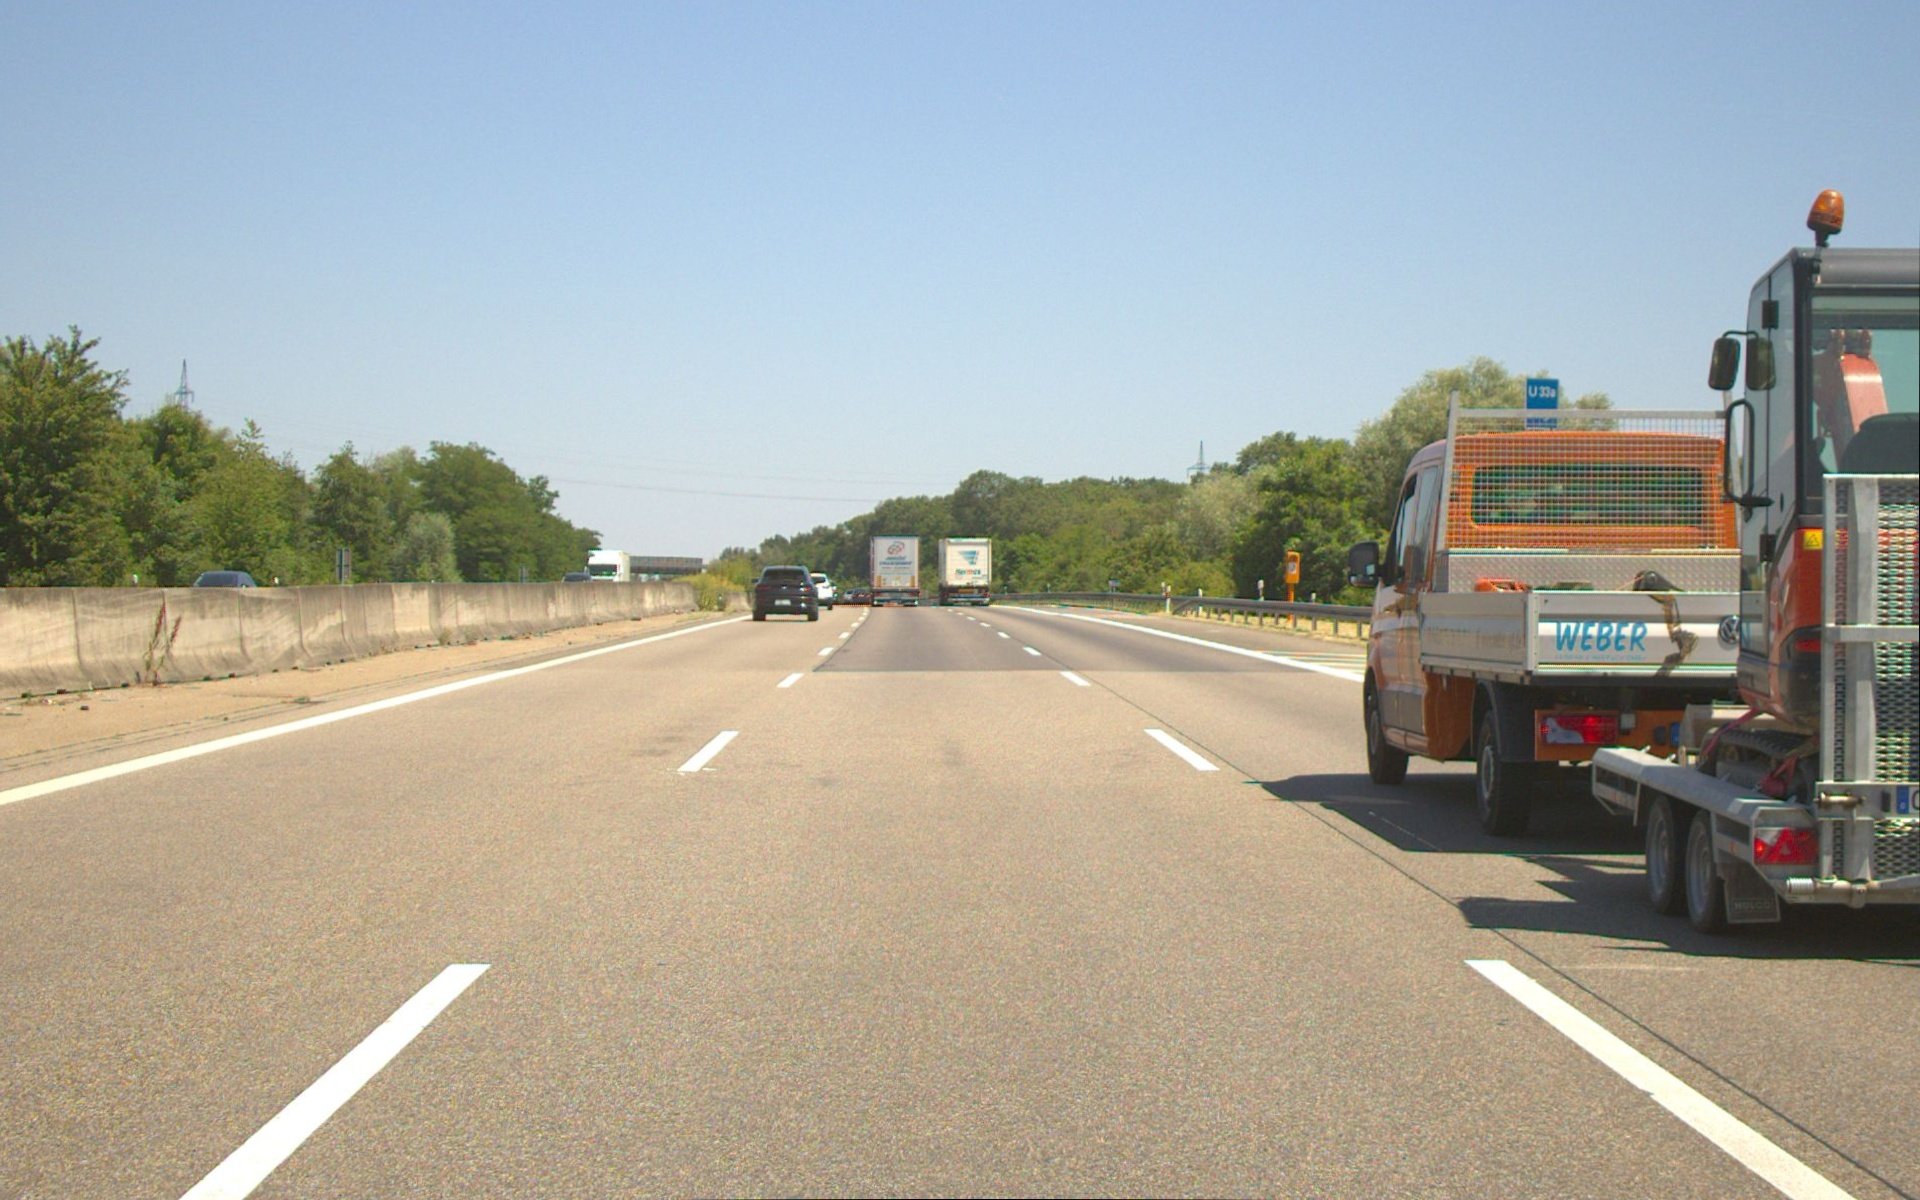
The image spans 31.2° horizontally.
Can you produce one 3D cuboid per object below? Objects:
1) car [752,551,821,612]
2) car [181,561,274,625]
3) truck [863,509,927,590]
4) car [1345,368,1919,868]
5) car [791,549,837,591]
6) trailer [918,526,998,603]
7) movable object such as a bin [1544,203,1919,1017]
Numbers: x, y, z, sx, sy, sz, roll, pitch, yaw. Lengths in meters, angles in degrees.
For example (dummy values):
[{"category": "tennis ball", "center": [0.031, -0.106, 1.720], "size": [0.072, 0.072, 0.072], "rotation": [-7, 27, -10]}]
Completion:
[{"category": "car", "center": [-5.433, -0.585, 108.193], "size": [1.993, 1.868, 4.000], "rotation": [1, 1, -1]}, {"category": "car", "center": [-23.634, -0.246, 111.058], "size": [1.993, 2.007, 4.429], "rotation": [1, 1, 1]}, {"category": "truck", "center": [-3.626, -2.766, 189.177], "size": [3.229, 4.187, 8.467], "rotation": [3, 1, -2]}, {"category": "car", "center": [3.739, 0.050, 20.290], "size": [1.993, 2.397, 7.227], "rotation": [1, 1, -1]}, {"category": "car", "center": [-6.650, -1.379, 157.036], "size": [1.993, 1.868, 4.000], "rotation": [1, 1, -1]}, {"category": "trailer", "center": [-0.173, -2.085, 198.026], "size": [3.367, 4.128, 9.093], "rotation": [4, 1, -6]}, {"category": "movable object such as a bin", "center": [3.967, 0.023, 14.261], "size": [2.174, 2.806, 4.761], "rotation": [1, 1, -1]}]
